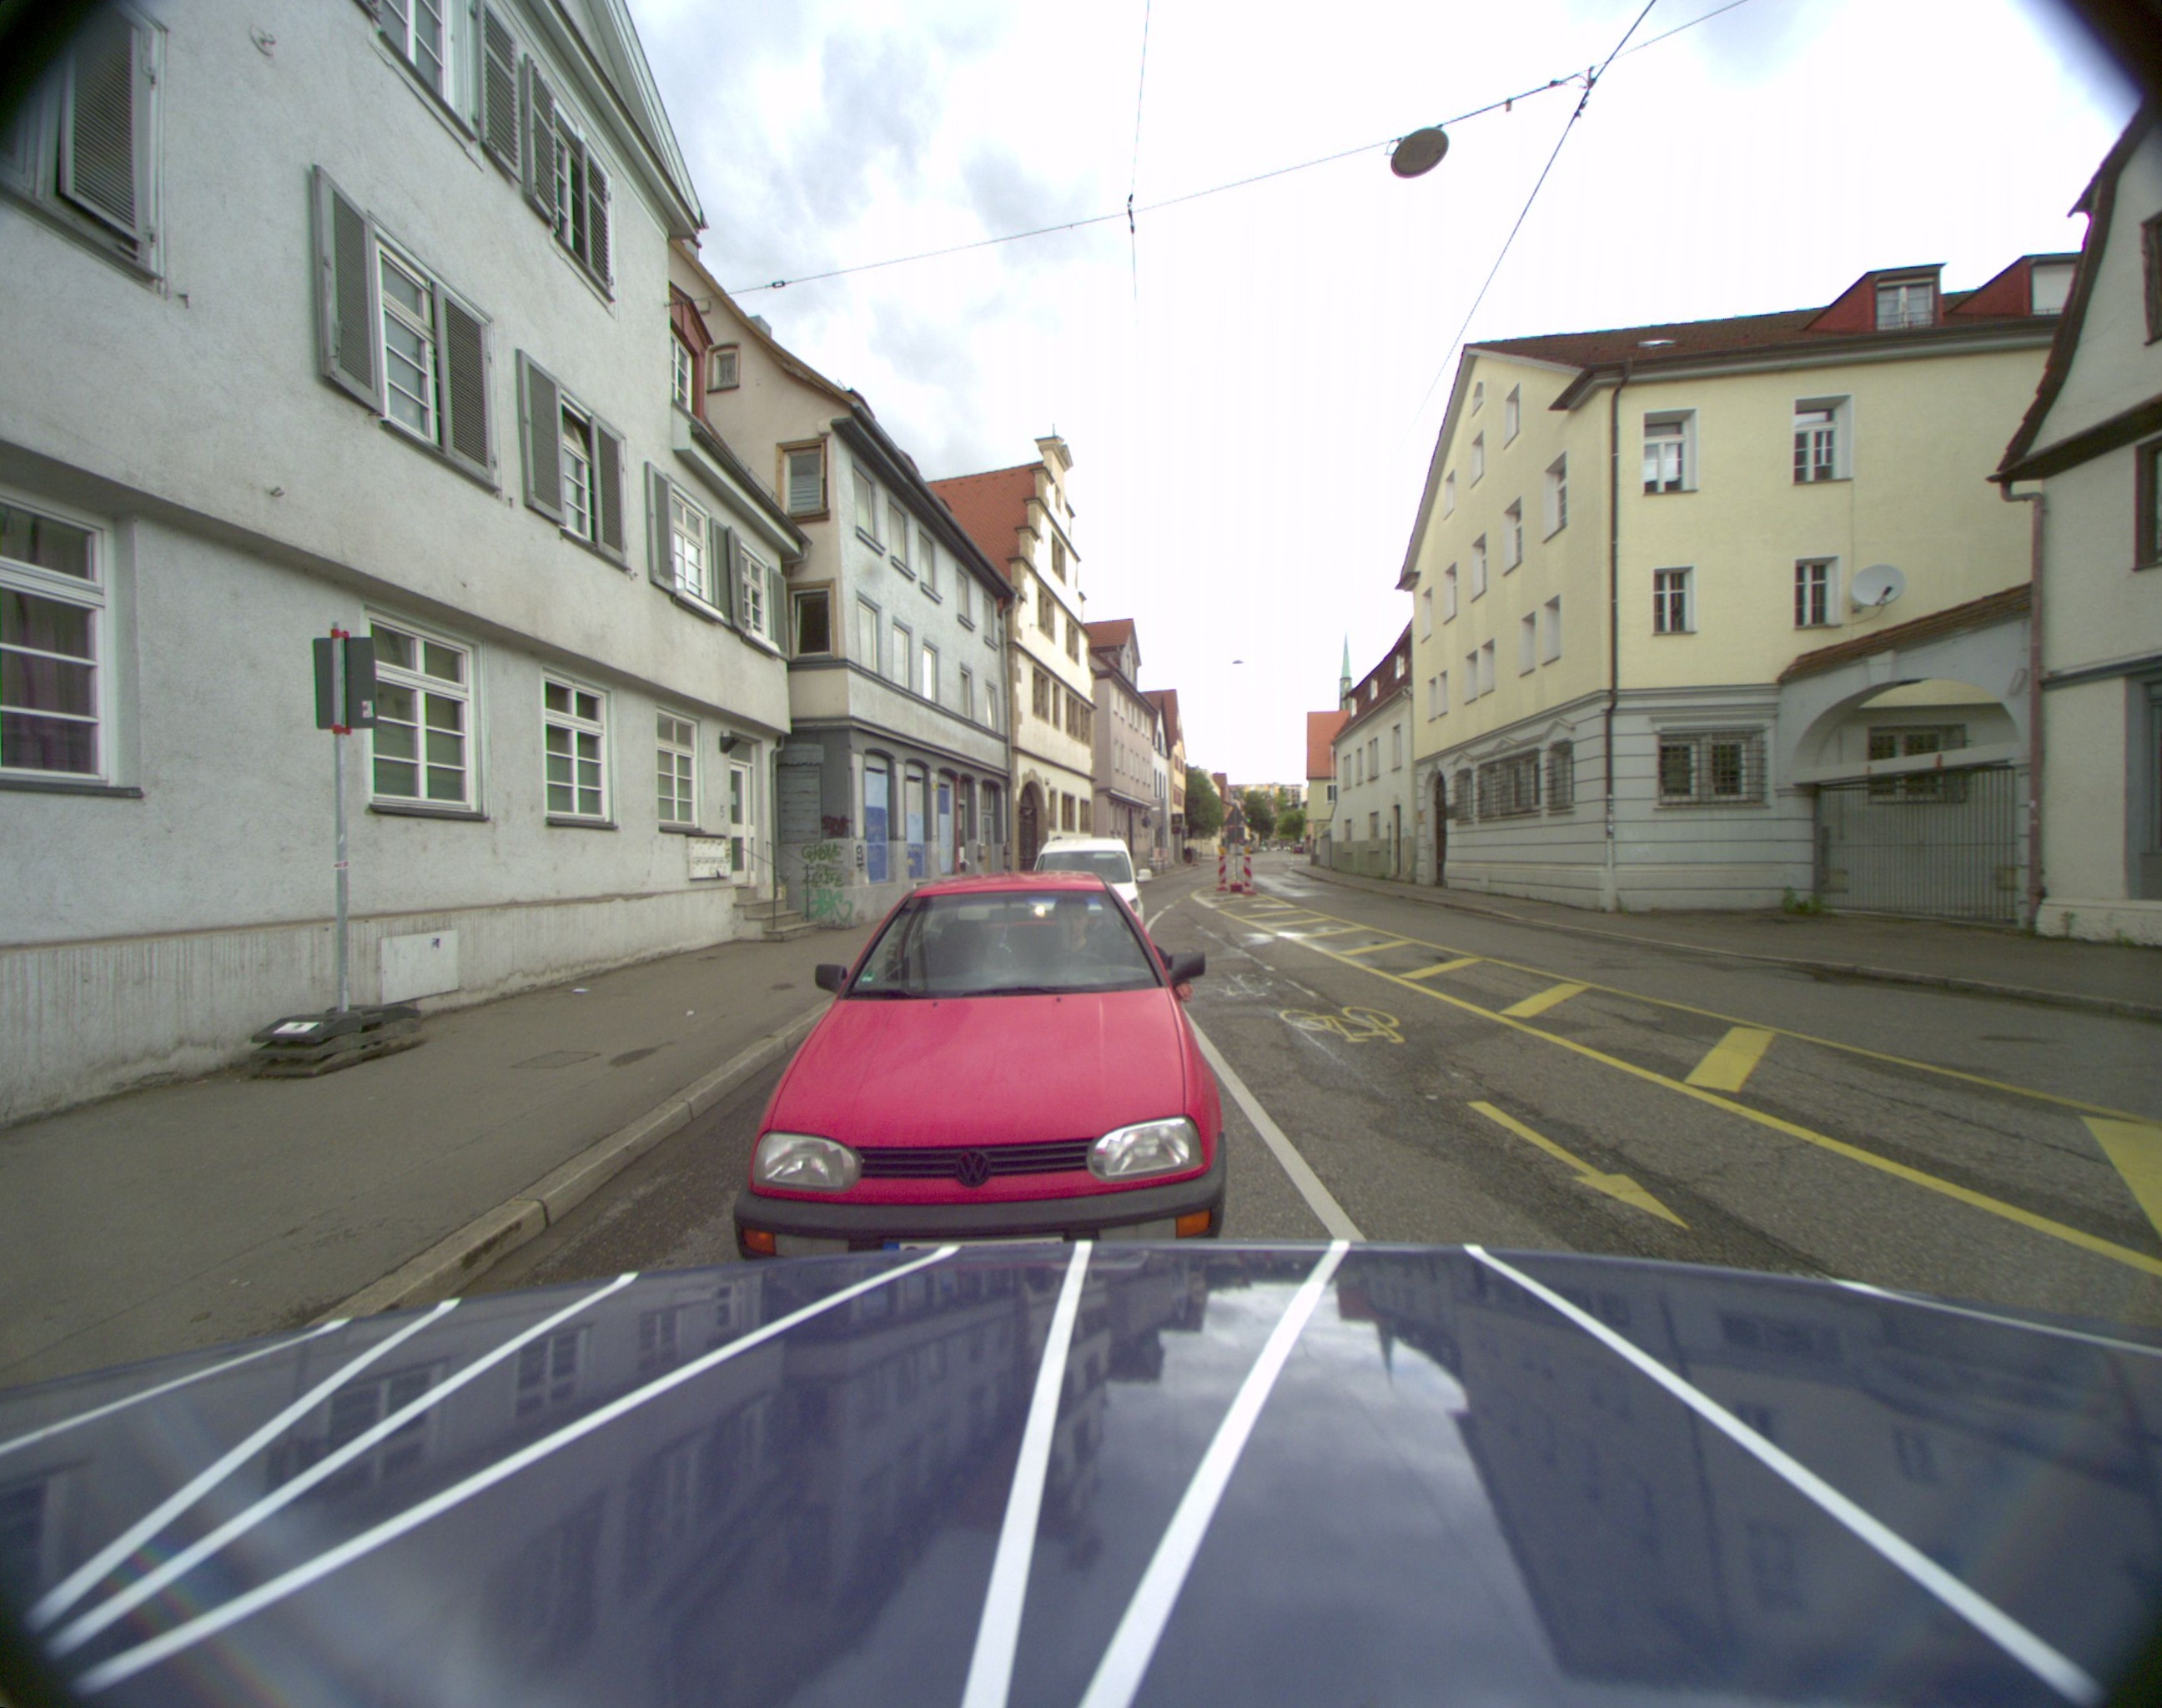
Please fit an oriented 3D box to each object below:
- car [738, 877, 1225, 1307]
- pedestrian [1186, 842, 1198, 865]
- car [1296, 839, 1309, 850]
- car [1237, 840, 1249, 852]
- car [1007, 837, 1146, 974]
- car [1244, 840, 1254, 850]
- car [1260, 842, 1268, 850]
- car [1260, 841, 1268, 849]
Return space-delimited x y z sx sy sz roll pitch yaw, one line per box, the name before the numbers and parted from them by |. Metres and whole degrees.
car | -0.361 0.990 4.951 1.804 1.458 4.000 -4 0 1
pedestrian | 9.290 -0.079 63.321 0.877 1.888 0.898 -1 0 14
car | 42.728 -1.771 146.581 2.057 2.002 4.004 -1 0 13
car | 28.456 -1.338 133.500 1.996 2.002 4.004 -1 0 13
car | -0.036 0.682 12.181 1.804 1.781 4.349 -1 0 1
car | 34.073 -1.751 154.257 1.996 2.002 4.004 -1 0 13
car | 48.478 -2.099 201.285 1.996 2.002 4.004 -1 0 13
car | 44.957 -2.149 186.811 1.996 2.002 4.004 -1 0 13
